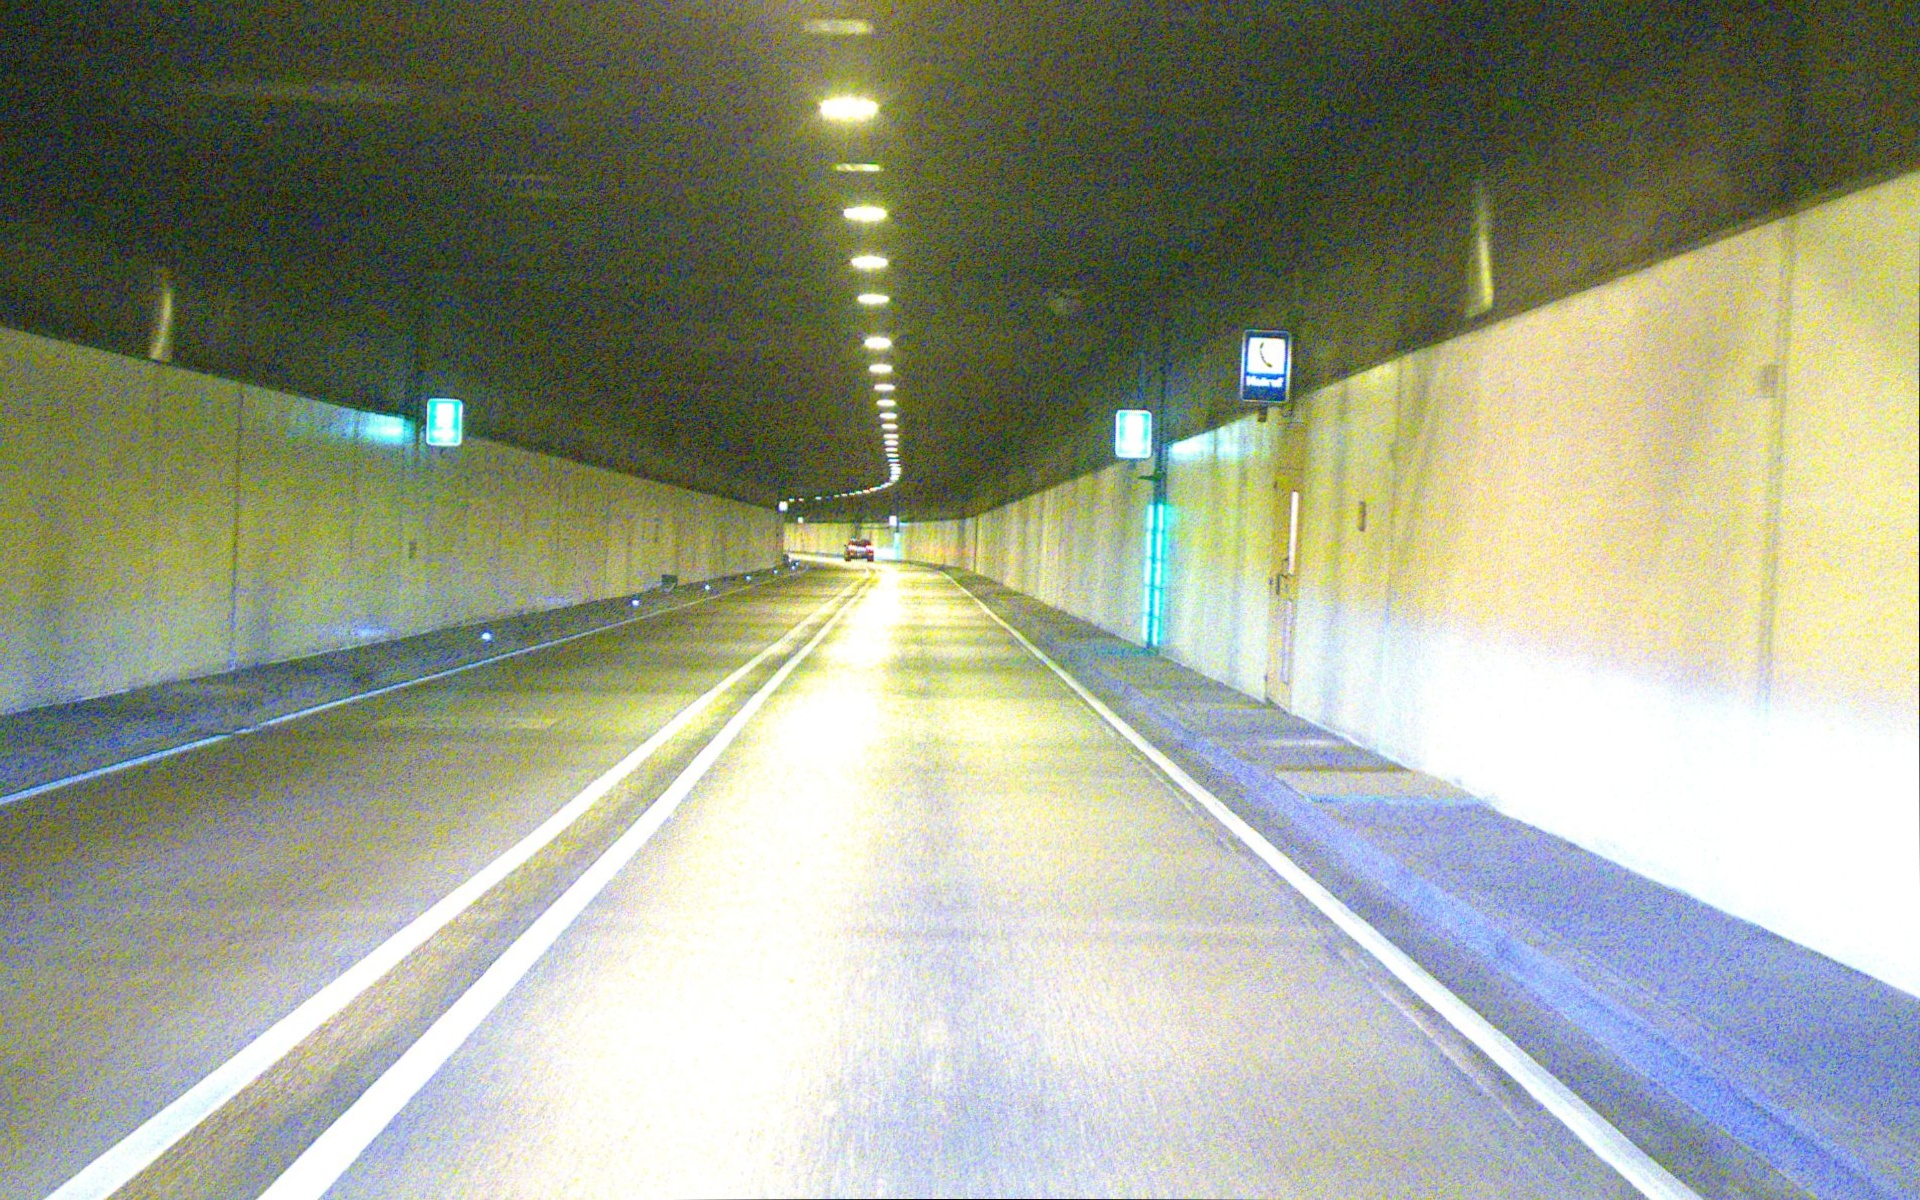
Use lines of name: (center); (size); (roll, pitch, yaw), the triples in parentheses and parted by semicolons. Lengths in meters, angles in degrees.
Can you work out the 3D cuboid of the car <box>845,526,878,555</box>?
car: (-6.875, -4.114, 238.928); (1.966, 1.932, 4.613); (2, 0, -5)
